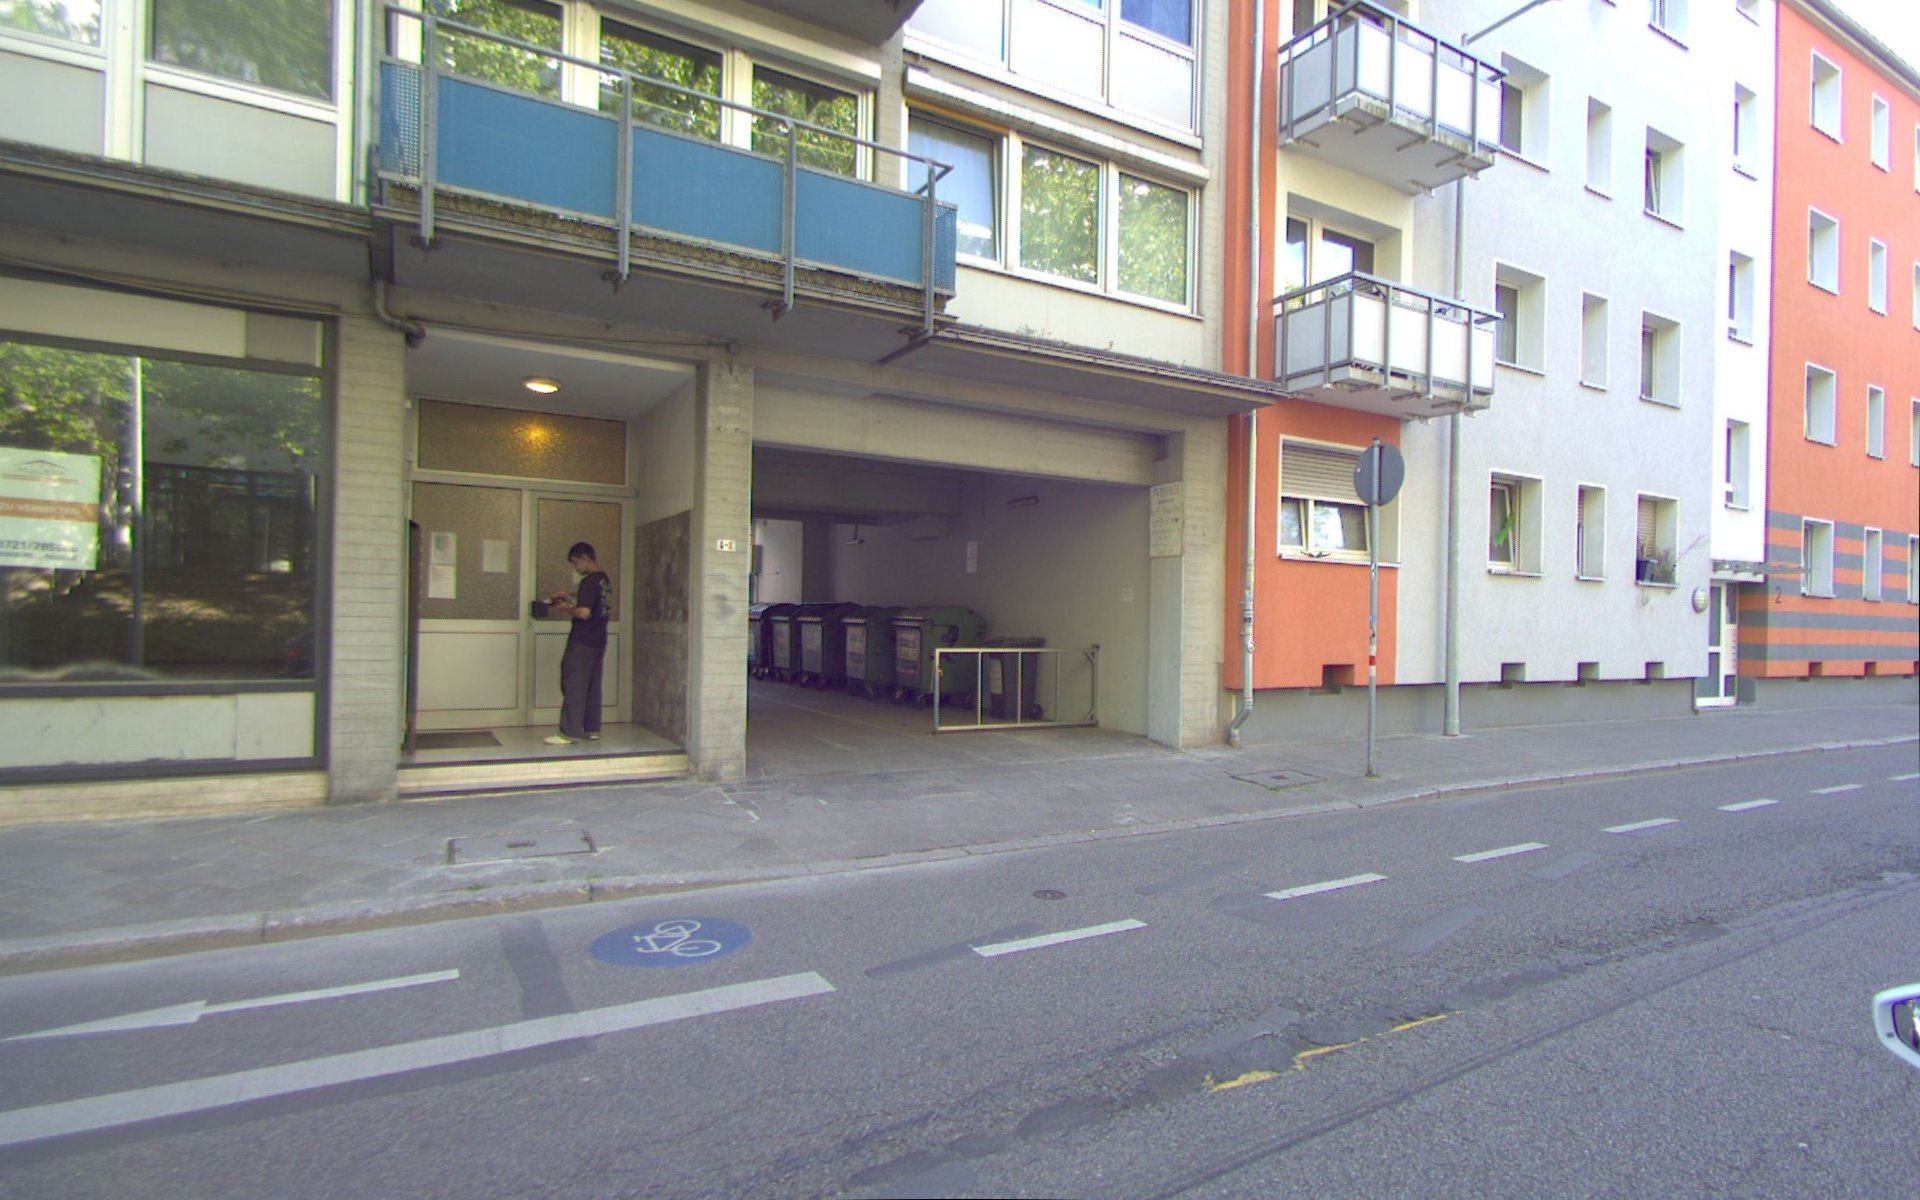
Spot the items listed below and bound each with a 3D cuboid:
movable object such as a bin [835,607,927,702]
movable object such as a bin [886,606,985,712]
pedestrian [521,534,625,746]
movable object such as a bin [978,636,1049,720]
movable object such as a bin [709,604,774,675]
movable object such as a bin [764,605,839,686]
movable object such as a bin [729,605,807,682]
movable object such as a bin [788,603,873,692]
[{"bbox_3d":[-1.266,0.828,15.840,1.011,1.409,1.319,1,0,-27],"label":"movable object such as a bin"},{"bbox_3d":[-0.376,0.819,14.528,1.009,1.438,1.321,1,0,-23],"label":"movable object such as a bin"},{"bbox_3d":[-3.361,0.334,8.742,0.518,1.764,0.630,1,0,27],"label":"pedestrian"},{"bbox_3d":[0.699,1.005,13.182,0.704,1.054,0.583,1,0,-30],"label":"movable object such as a bin"},{"bbox_3d":[-4.536,0.810,20.794,1.010,1.409,1.246,1,0,-26],"label":"movable object such as a bin"},{"bbox_3d":[-2.908,0.813,18.395,1.012,1.409,1.046,1,0,-31],"label":"movable object such as a bin"},{"bbox_3d":[-3.700,0.818,19.350,1.014,1.409,1.264,1,0,-37],"label":"movable object such as a bin"},{"bbox_3d":[-2.252,0.788,17.361,1.011,1.462,1.317,1,0,-29],"label":"movable object such as a bin"}]
